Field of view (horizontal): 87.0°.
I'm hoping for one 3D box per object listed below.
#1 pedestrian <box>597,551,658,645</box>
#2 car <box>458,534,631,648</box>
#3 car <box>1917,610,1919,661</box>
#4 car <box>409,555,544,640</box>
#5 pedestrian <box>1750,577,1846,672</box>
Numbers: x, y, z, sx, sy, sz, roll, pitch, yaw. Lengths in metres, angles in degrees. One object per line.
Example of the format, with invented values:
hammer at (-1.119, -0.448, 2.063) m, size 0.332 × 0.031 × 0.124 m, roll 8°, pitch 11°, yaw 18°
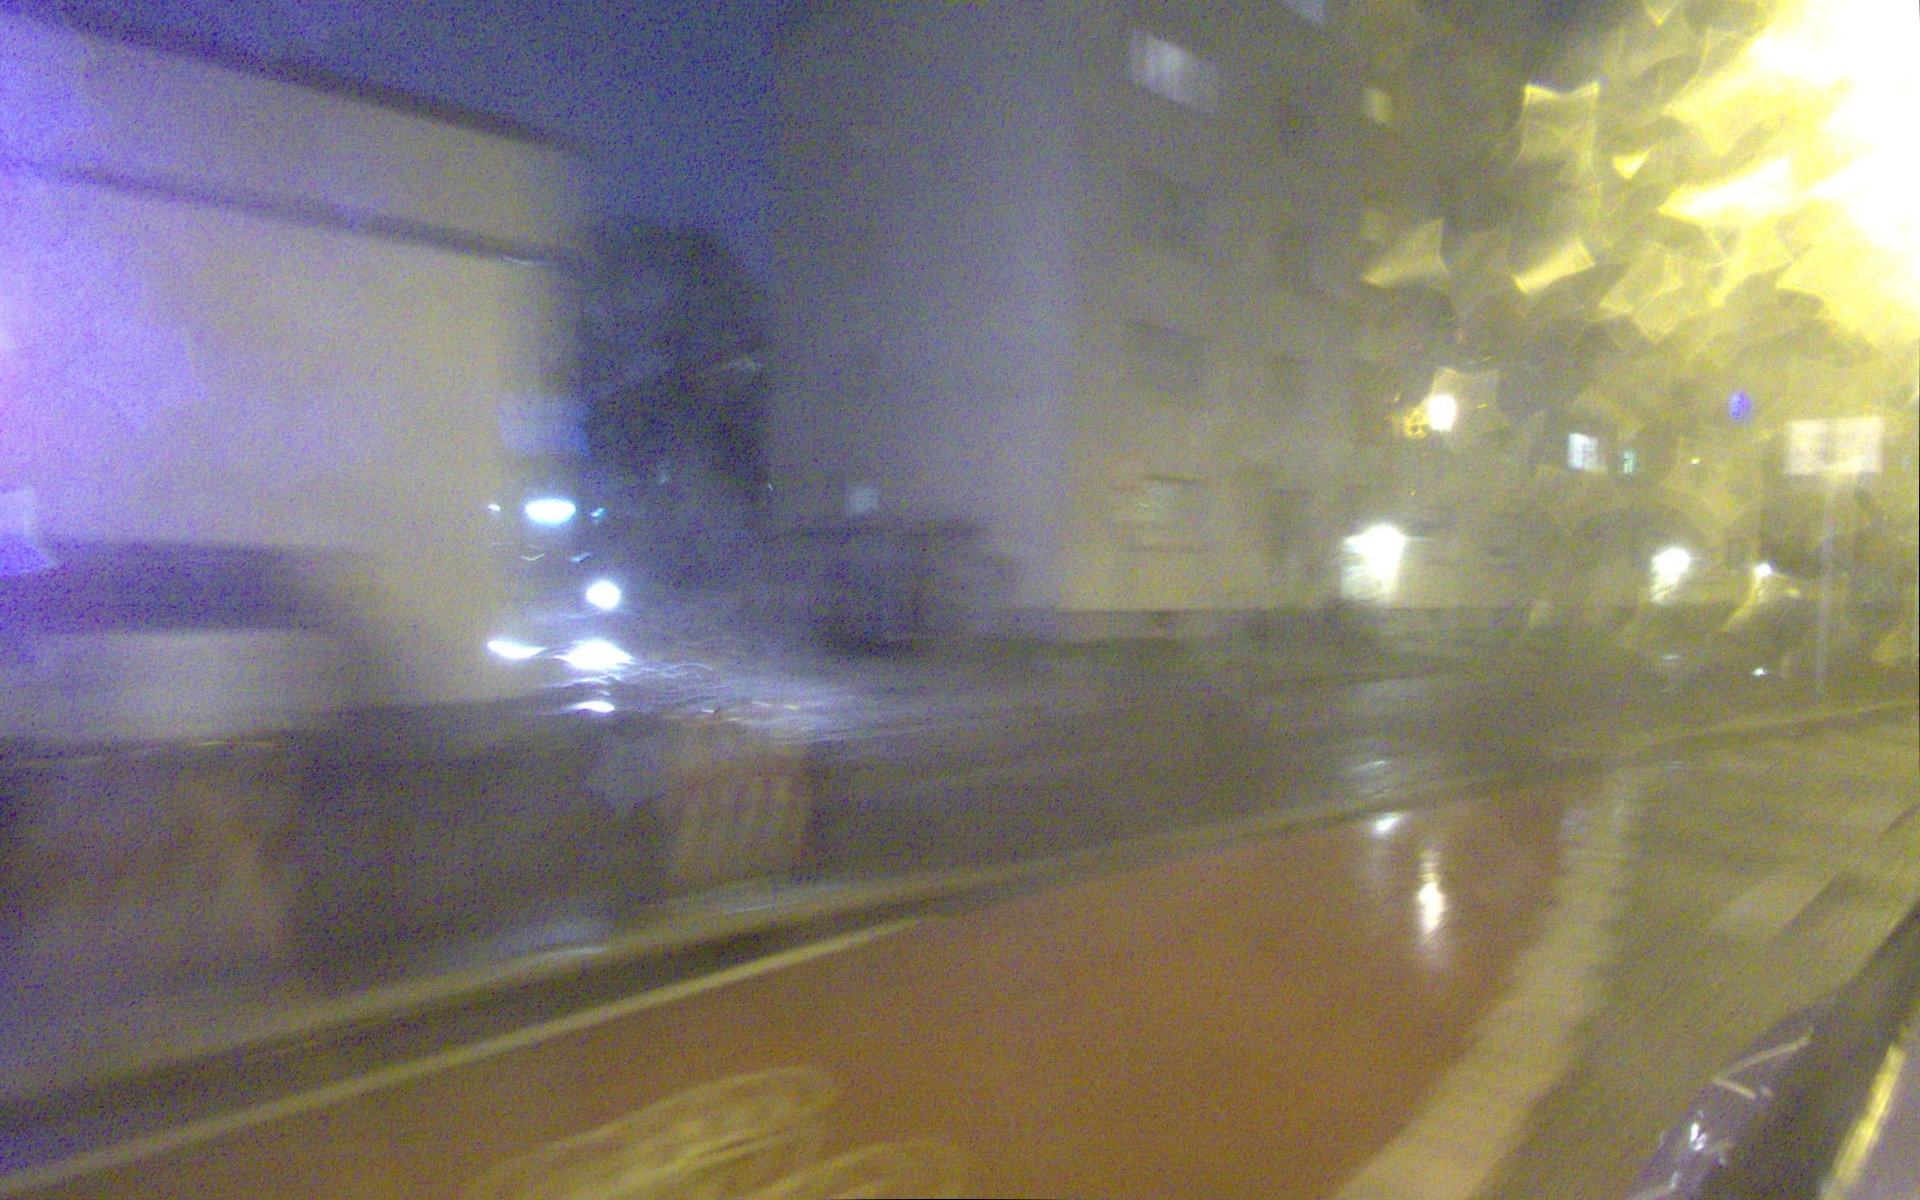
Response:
pedestrian at (-6.394, -0.051, 19.439) m, size 0.857 × 1.759 × 1.087 m, roll 0°, pitch 1°, yaw -35°
car at (-7.859, -0.202, 18.945) m, size 1.894 × 1.894 × 3.995 m, roll 0°, pitch 1°, yaw -40°
car at (23.274, 0.576, 22.906) m, size 4.699 × 1.549 × 1.826 m, roll -1°, pitch 3°, yaw -41°
car at (-10.802, -0.099, 22.472) m, size 1.809 × 1.694 × 3.995 m, roll 0°, pitch 1°, yaw -40°
pedestrian at (14.629, 0.404, 17.678) m, size 0.999 × 1.595 × 1.053 m, roll 0°, pitch 1°, yaw -35°
